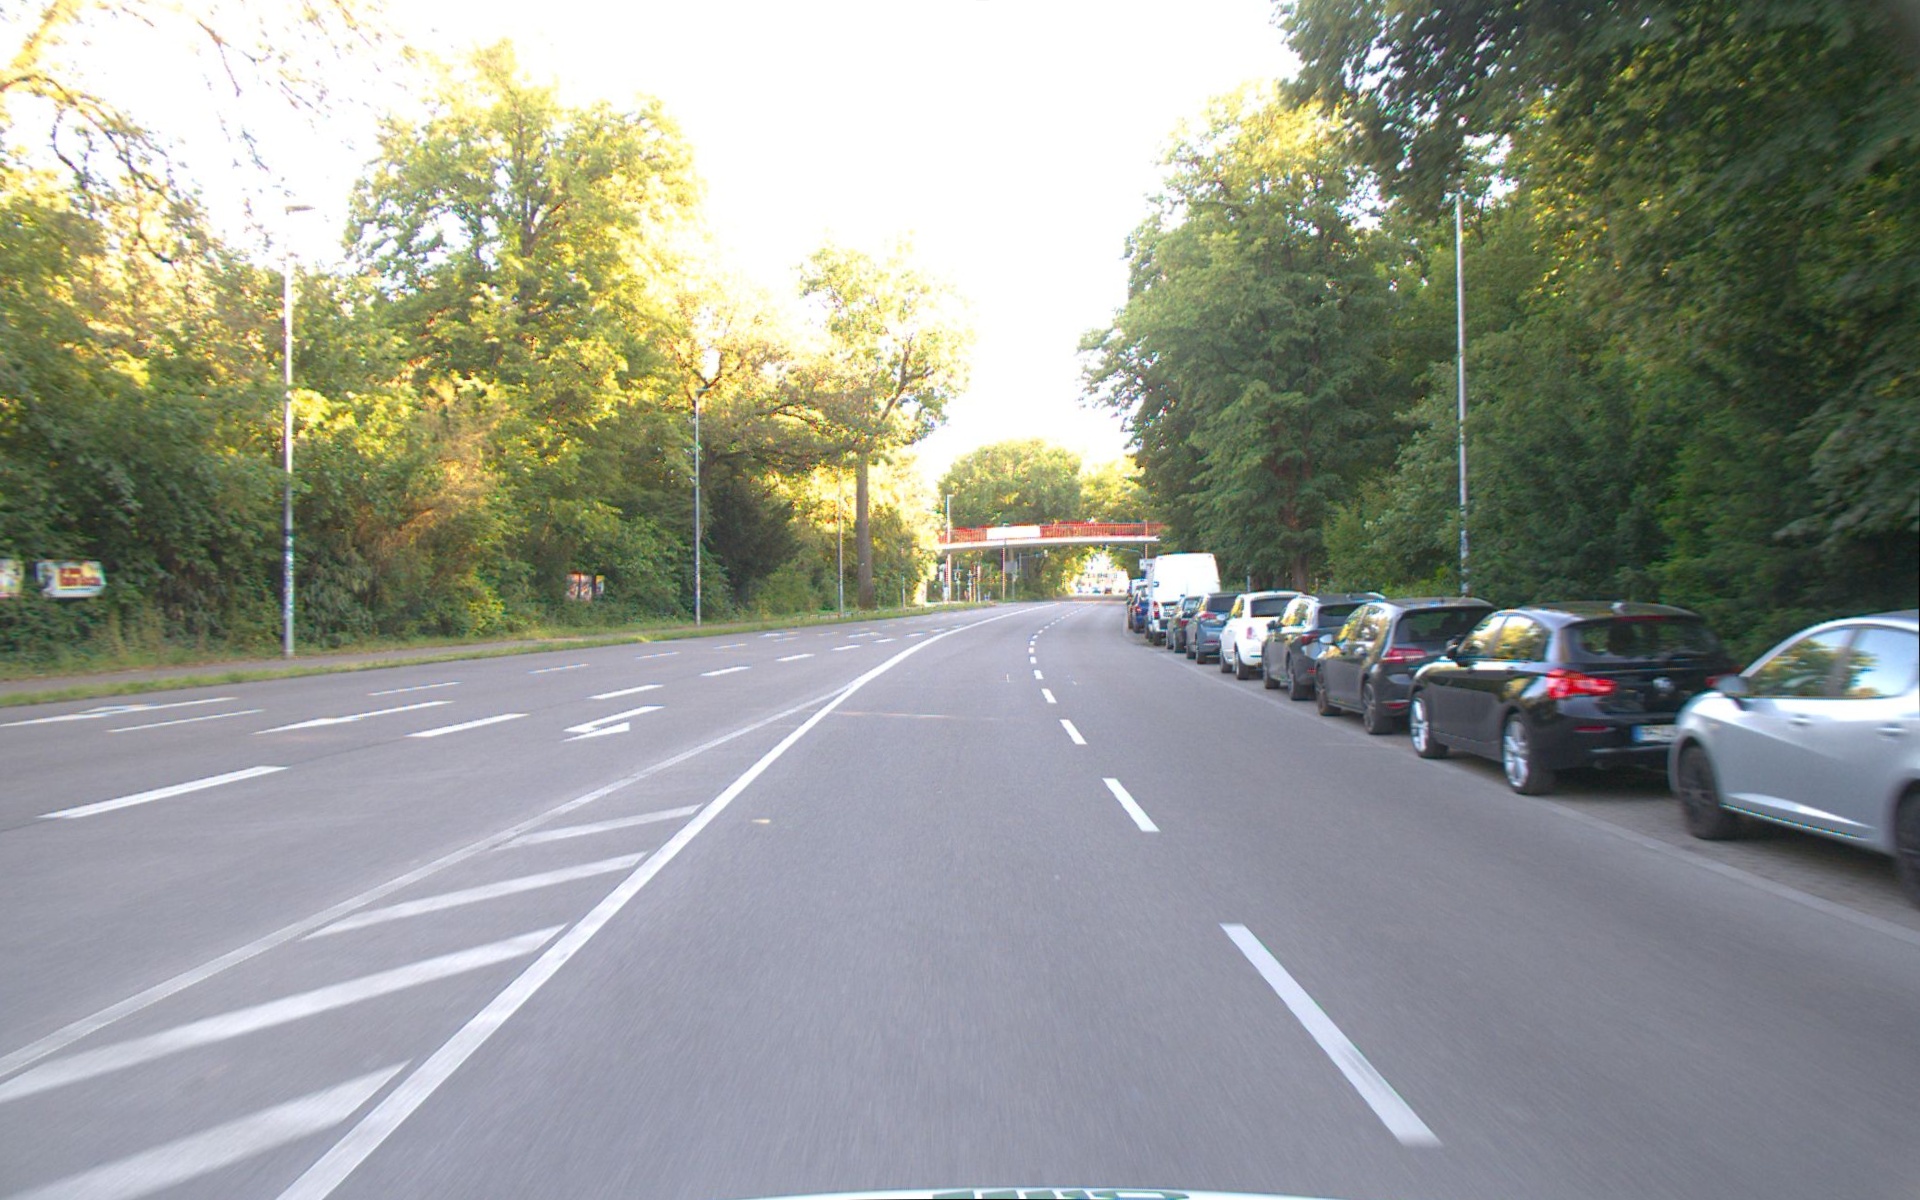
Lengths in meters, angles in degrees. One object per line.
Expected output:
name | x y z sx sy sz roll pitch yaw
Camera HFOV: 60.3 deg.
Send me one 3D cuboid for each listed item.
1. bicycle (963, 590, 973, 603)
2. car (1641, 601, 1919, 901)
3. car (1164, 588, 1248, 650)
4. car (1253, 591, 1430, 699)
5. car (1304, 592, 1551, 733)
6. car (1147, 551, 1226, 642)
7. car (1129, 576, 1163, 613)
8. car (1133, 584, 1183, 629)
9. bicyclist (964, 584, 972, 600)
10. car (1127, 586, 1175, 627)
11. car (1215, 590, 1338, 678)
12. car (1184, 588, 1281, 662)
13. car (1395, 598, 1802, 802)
bicycle | 0.792 -0.336 162.192 0.697 1.167 1.995 1 0 6
car | 5.534 0.745 9.255 1.683 1.436 4.123 -1 0 -1
car | 6.184 0.455 41.974 1.642 1.425 4.652 -1 0 3
car | 5.625 0.613 24.952 1.682 1.436 4.908 -1 0 2
car | 5.362 0.657 19.584 1.682 1.436 4.488 -1 0 1
car | 6.503 -0.100 48.039 1.864 2.466 5.579 -1 0 4
car | 10.773 -0.315 95.796 1.829 2.016 5.478 -1 0 6
car | 7.258 0.230 60.997 1.642 1.562 4.356 -1 0 5
bicyclist | 0.791 -0.775 162.196 0.697 1.586 1.143 1 0 6
car | 7.656 0.241 66.757 1.722 1.562 4.992 -1 0 5
car | 5.755 0.588 30.426 1.642 1.489 3.690 -1 0 2
car | 5.904 0.508 36.232 1.642 1.489 4.068 -1 0 3
car | 5.207 0.723 14.195 1.683 1.436 4.487 -1 0 -1
